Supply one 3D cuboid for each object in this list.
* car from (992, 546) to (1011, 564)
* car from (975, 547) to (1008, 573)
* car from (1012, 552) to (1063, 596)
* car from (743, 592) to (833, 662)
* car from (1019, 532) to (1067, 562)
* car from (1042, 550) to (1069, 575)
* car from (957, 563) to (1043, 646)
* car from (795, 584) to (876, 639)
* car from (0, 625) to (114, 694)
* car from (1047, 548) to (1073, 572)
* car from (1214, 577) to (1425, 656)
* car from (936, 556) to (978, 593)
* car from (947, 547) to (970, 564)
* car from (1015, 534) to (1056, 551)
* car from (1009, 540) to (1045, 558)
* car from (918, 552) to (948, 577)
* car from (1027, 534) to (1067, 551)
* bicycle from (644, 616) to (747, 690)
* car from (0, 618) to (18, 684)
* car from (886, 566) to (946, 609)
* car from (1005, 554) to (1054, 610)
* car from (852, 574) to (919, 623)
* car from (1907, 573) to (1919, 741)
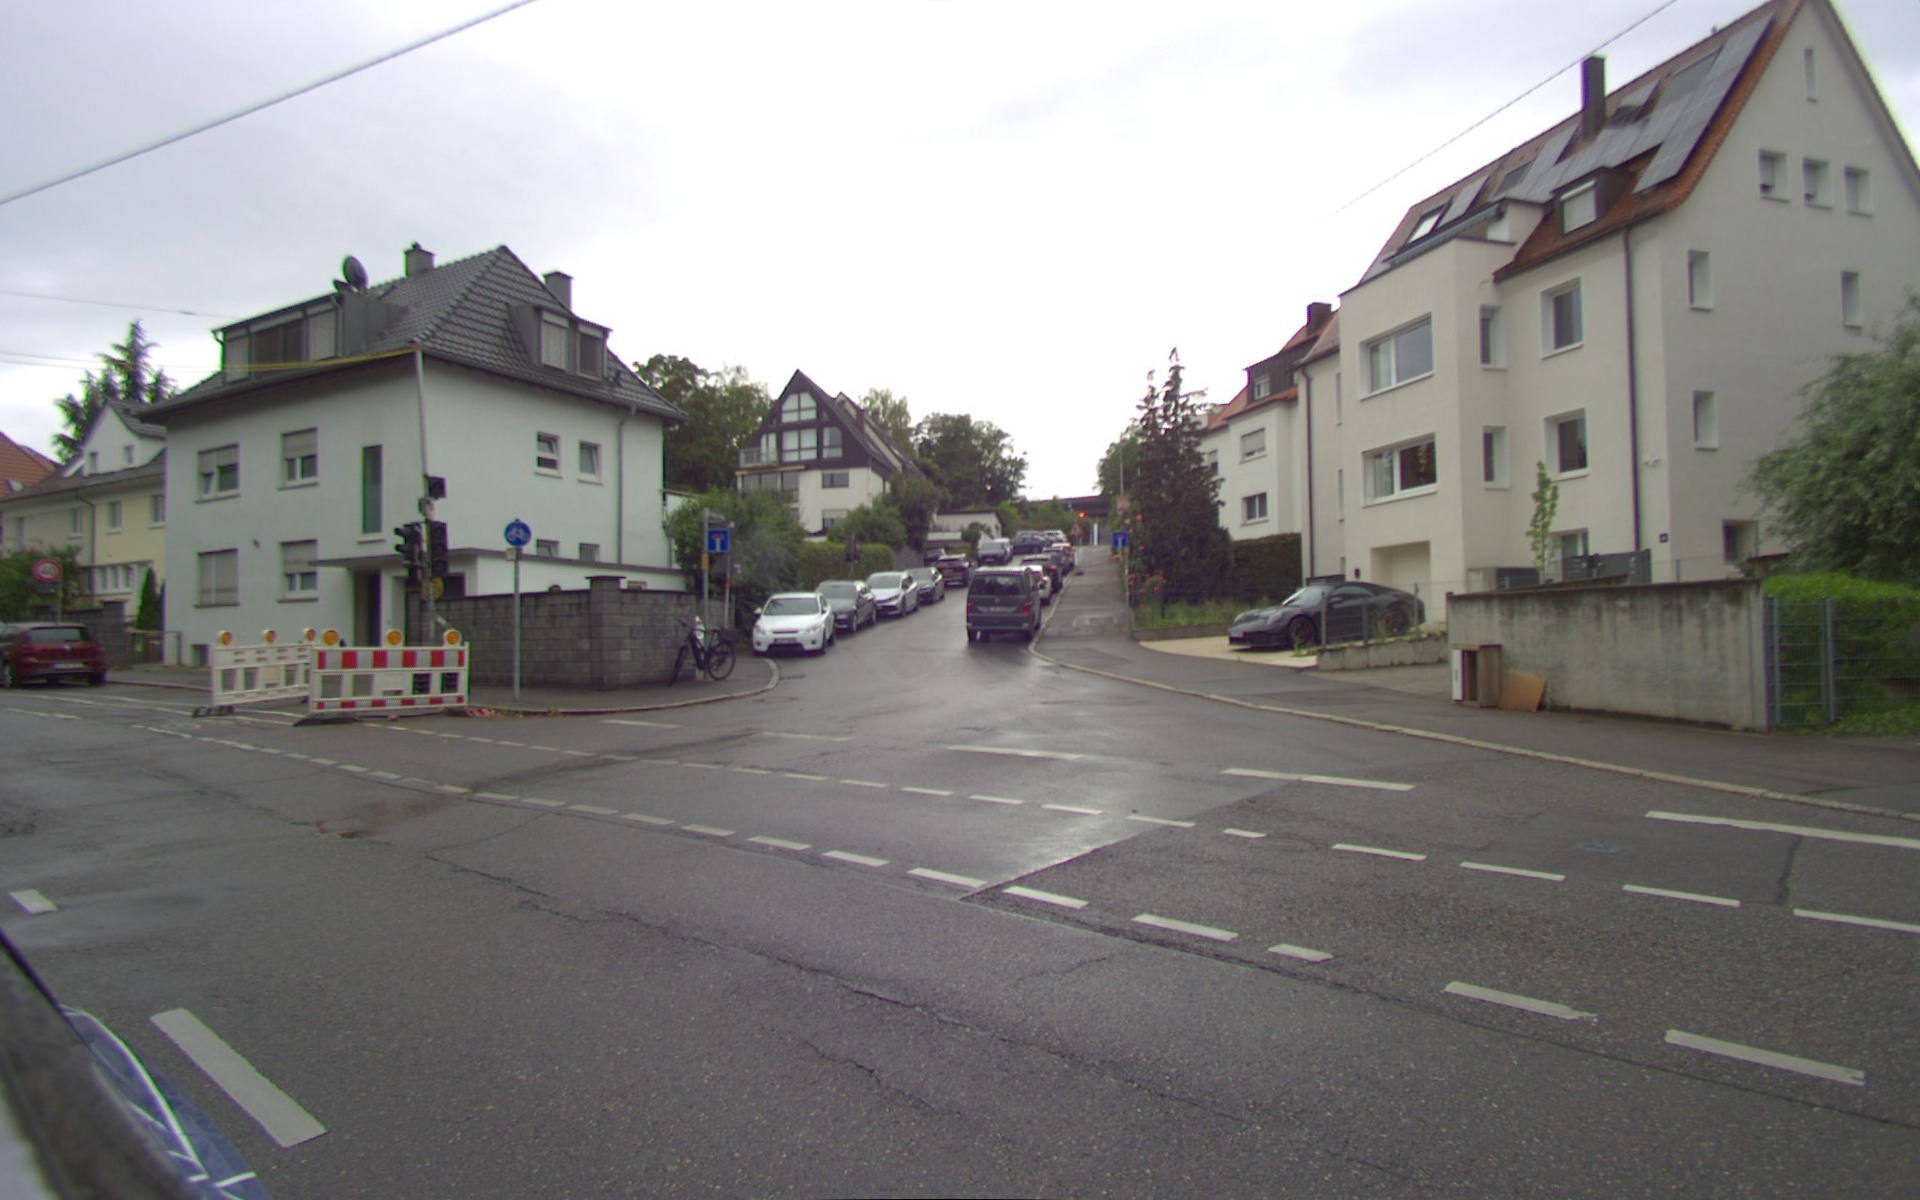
[{"bbox_3d":[3.056,-3.335,74.714,1.292,1.206,2.980,-1,3,5],"label":"car"},{"bbox_3d":[2.194,-2.678,68.889,1.770,1.531,4.016,-1,0,9],"label":"car"},{"bbox_3d":[3.519,-1.198,45.379,1.823,1.699,4.039,-1,5,11],"label":"car"},{"bbox_3d":[-4.355,0.622,26.159,1.827,1.473,4.124,-1,3,-3],"label":"car"},{"bbox_3d":[7.200,-4.572,87.645,3.954,2.028,1.995,-5,-1,8],"label":"car"},{"bbox_3d":[5.501,-2.149,58.114,1.274,1.325,2.984,-1,3,10],"label":"car"},{"bbox_3d":[1.241,0.048,29.328,1.978,2.028,4.482,-1,4,9],"label":"car"},{"bbox_3d":[-3.829,0.316,31.821,1.702,1.397,3.900,-1,4,6],"label":"car"},{"bbox_3d":[-21.470,1.332,23.385,3.833,1.443,1.768,-1,-1,30],"label":"car"},{"bbox_3d":[6.236,-2.454,62.851,1.488,1.373,3.465,-1,0,8],"label":"car"},{"bbox_3d":[7.706,0.332,21.775,3.942,1.290,1.613,-5,1,-13],"label":"car"},{"bbox_3d":[-0.116,-1.368,52.468,1.623,1.637,3.992,-1,5,8],"label":"car"},{"bbox_3d":[-0.084,-3.267,74.024,1.559,1.220,3.650,-1,3,2],"label":"car"},{"bbox_3d":[7.389,-5.601,98.791,3.922,1.528,1.748,-1,0,6],"label":"car"},{"bbox_3d":[5.551,-4.208,83.657,2.914,1.328,1.282,-1,0,4],"label":"car"},{"bbox_3d":[-1.829,-2.426,69.796,1.793,1.566,4.009,-1,0,3],"label":"car"},{"bbox_3d":[8.936,-5.912,103.917,3.782,1.529,1.664,-1,0,15],"label":"car"},{"bbox_3d":[-4.787,0.930,18.460,0.508,1.249,1.984,1,0,32],"label":"bicycle"},{"bbox_3d":[-26.155,1.315,25.777,4.131,1.653,1.782,-1,-1,25],"label":"car"},{"bbox_3d":[-1.808,-0.557,42.963,1.903,1.448,4.100,-1,5,7],"label":"car"},{"bbox_3d":[2.818,-0.758,40.327,1.686,1.843,4.194,-1,6,7],"label":"car"},{"bbox_3d":[-2.659,-0.088,37.090,1.738,1.481,3.940,-1,4,6],"label":"car"},{"bbox_3d":[10.603,0.423,8.552,3.934,1.497,1.780,-2,-1,-12],"label":"car"}]
